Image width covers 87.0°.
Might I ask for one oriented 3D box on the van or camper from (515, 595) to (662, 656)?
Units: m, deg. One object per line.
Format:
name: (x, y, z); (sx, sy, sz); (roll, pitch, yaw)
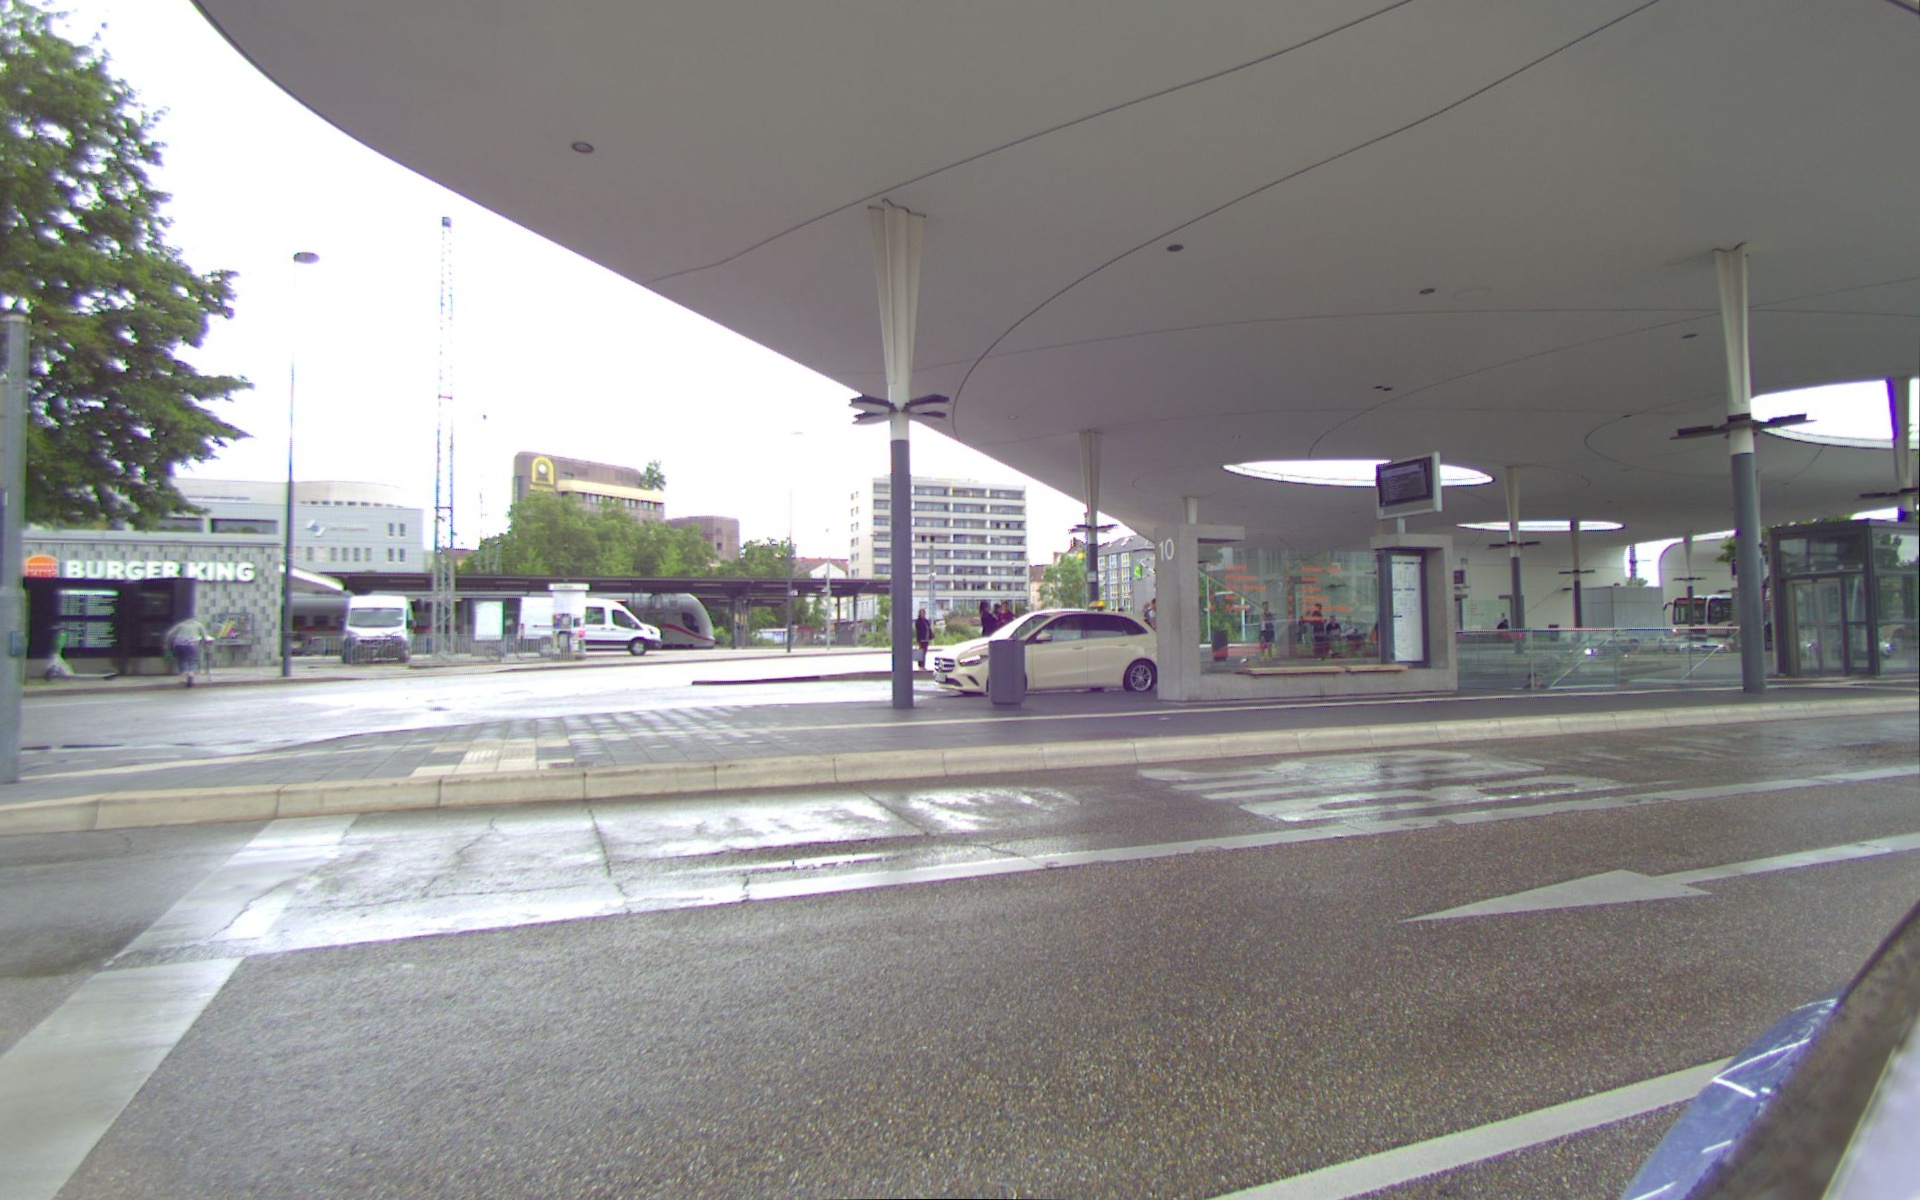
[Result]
van or camper: (-15.806, 1.033, 43.173); (5.741, 2.464, 2.004); (0, 0, -22)

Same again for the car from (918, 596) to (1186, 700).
car: (1.672, 0.787, 18.453); (4.447, 1.702, 2.004); (0, 0, -22)

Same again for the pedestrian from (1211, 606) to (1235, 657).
pedestrian: (7.975, 0.948, 30.726); (0.514, 1.533, 0.480); (0, -1, -19)

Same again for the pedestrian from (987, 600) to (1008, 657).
pedestrian: (1.005, 0.762, 27.286); (0.472, 1.533, 0.533); (0, -1, 12)

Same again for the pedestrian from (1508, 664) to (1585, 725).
pedestrian: (11.410, 1.829, 19.700); (0.938, 1.068, 0.885); (0, 0, -19)

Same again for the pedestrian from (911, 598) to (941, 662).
pedestrian: (-0.884, 0.767, 26.209); (0.726, 1.615, 0.643); (0, 0, -8)

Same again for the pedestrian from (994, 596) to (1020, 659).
pedestrian: (1.170, 0.679, 25.303); (0.469, 1.533, 0.536); (0, -1, -18)

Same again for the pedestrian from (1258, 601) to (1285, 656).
pedestrian: (8.721, 0.793, 28.333); (0.524, 1.533, 0.480); (0, -1, -19)

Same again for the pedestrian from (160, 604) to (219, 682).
pedestrian: (-15.692, 0.857, 20.627); (0.634, 1.549, 0.829); (0, 0, 38)

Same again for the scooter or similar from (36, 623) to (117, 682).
scooter or similar: (-19.240, 1.128, 22.060); (0.331, 1.197, 1.288); (0, 0, 34)

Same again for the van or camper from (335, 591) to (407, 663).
van or camper: (-21.970, 0.900, 37.937); (2.122, 2.464, 5.871); (0, 0, -28)

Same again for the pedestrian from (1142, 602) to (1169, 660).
pedestrian: (5.167, 0.813, 26.820); (0.524, 1.533, 0.480); (0, -1, -19)

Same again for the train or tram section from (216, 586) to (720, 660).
train or tram section: (-30.617, 1.249, 66.104); (28.695, 4.235, 4.615); (0, 0, -22)

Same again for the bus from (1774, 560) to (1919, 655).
bus: (35.037, 0.212, 37.048); (11.672, 3.121, 2.884); (0, 0, -22)

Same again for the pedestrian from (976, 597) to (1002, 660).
pedestrian: (0.702, 0.685, 24.671); (0.469, 1.533, 0.536); (0, -1, -18)
